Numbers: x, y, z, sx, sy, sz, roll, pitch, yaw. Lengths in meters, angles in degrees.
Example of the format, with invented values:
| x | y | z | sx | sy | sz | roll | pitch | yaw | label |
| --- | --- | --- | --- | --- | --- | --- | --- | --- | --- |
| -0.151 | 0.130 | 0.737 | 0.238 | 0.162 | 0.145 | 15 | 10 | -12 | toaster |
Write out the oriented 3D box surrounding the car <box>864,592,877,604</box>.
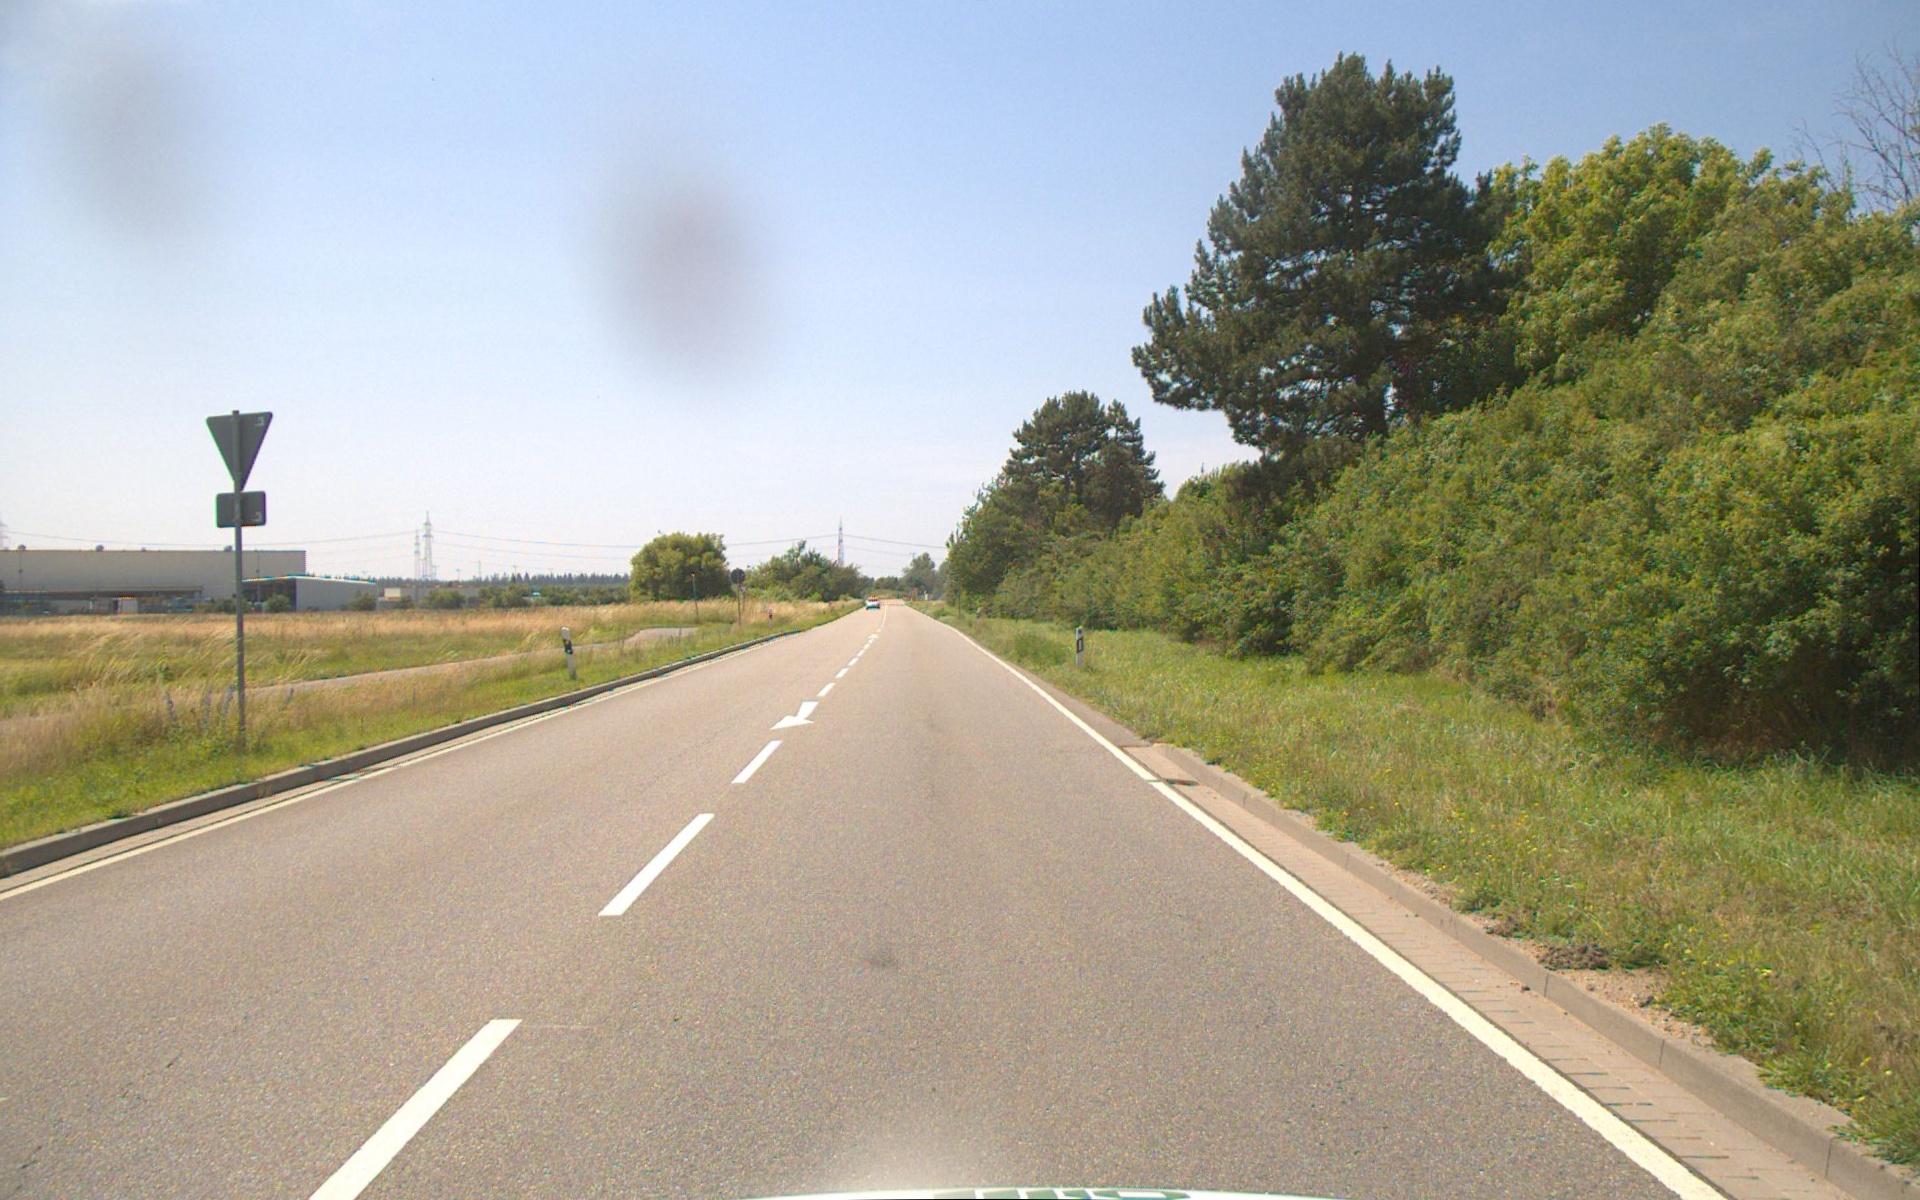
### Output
| x | y | z | sx | sy | sz | roll | pitch | yaw | label |
| --- | --- | --- | --- | --- | --- | --- | --- | --- | --- |
| -11.398 | -0.254 | 210.492 | 1.645 | 1.445 | 4.419 | -3 | 0 | -3 | car |
